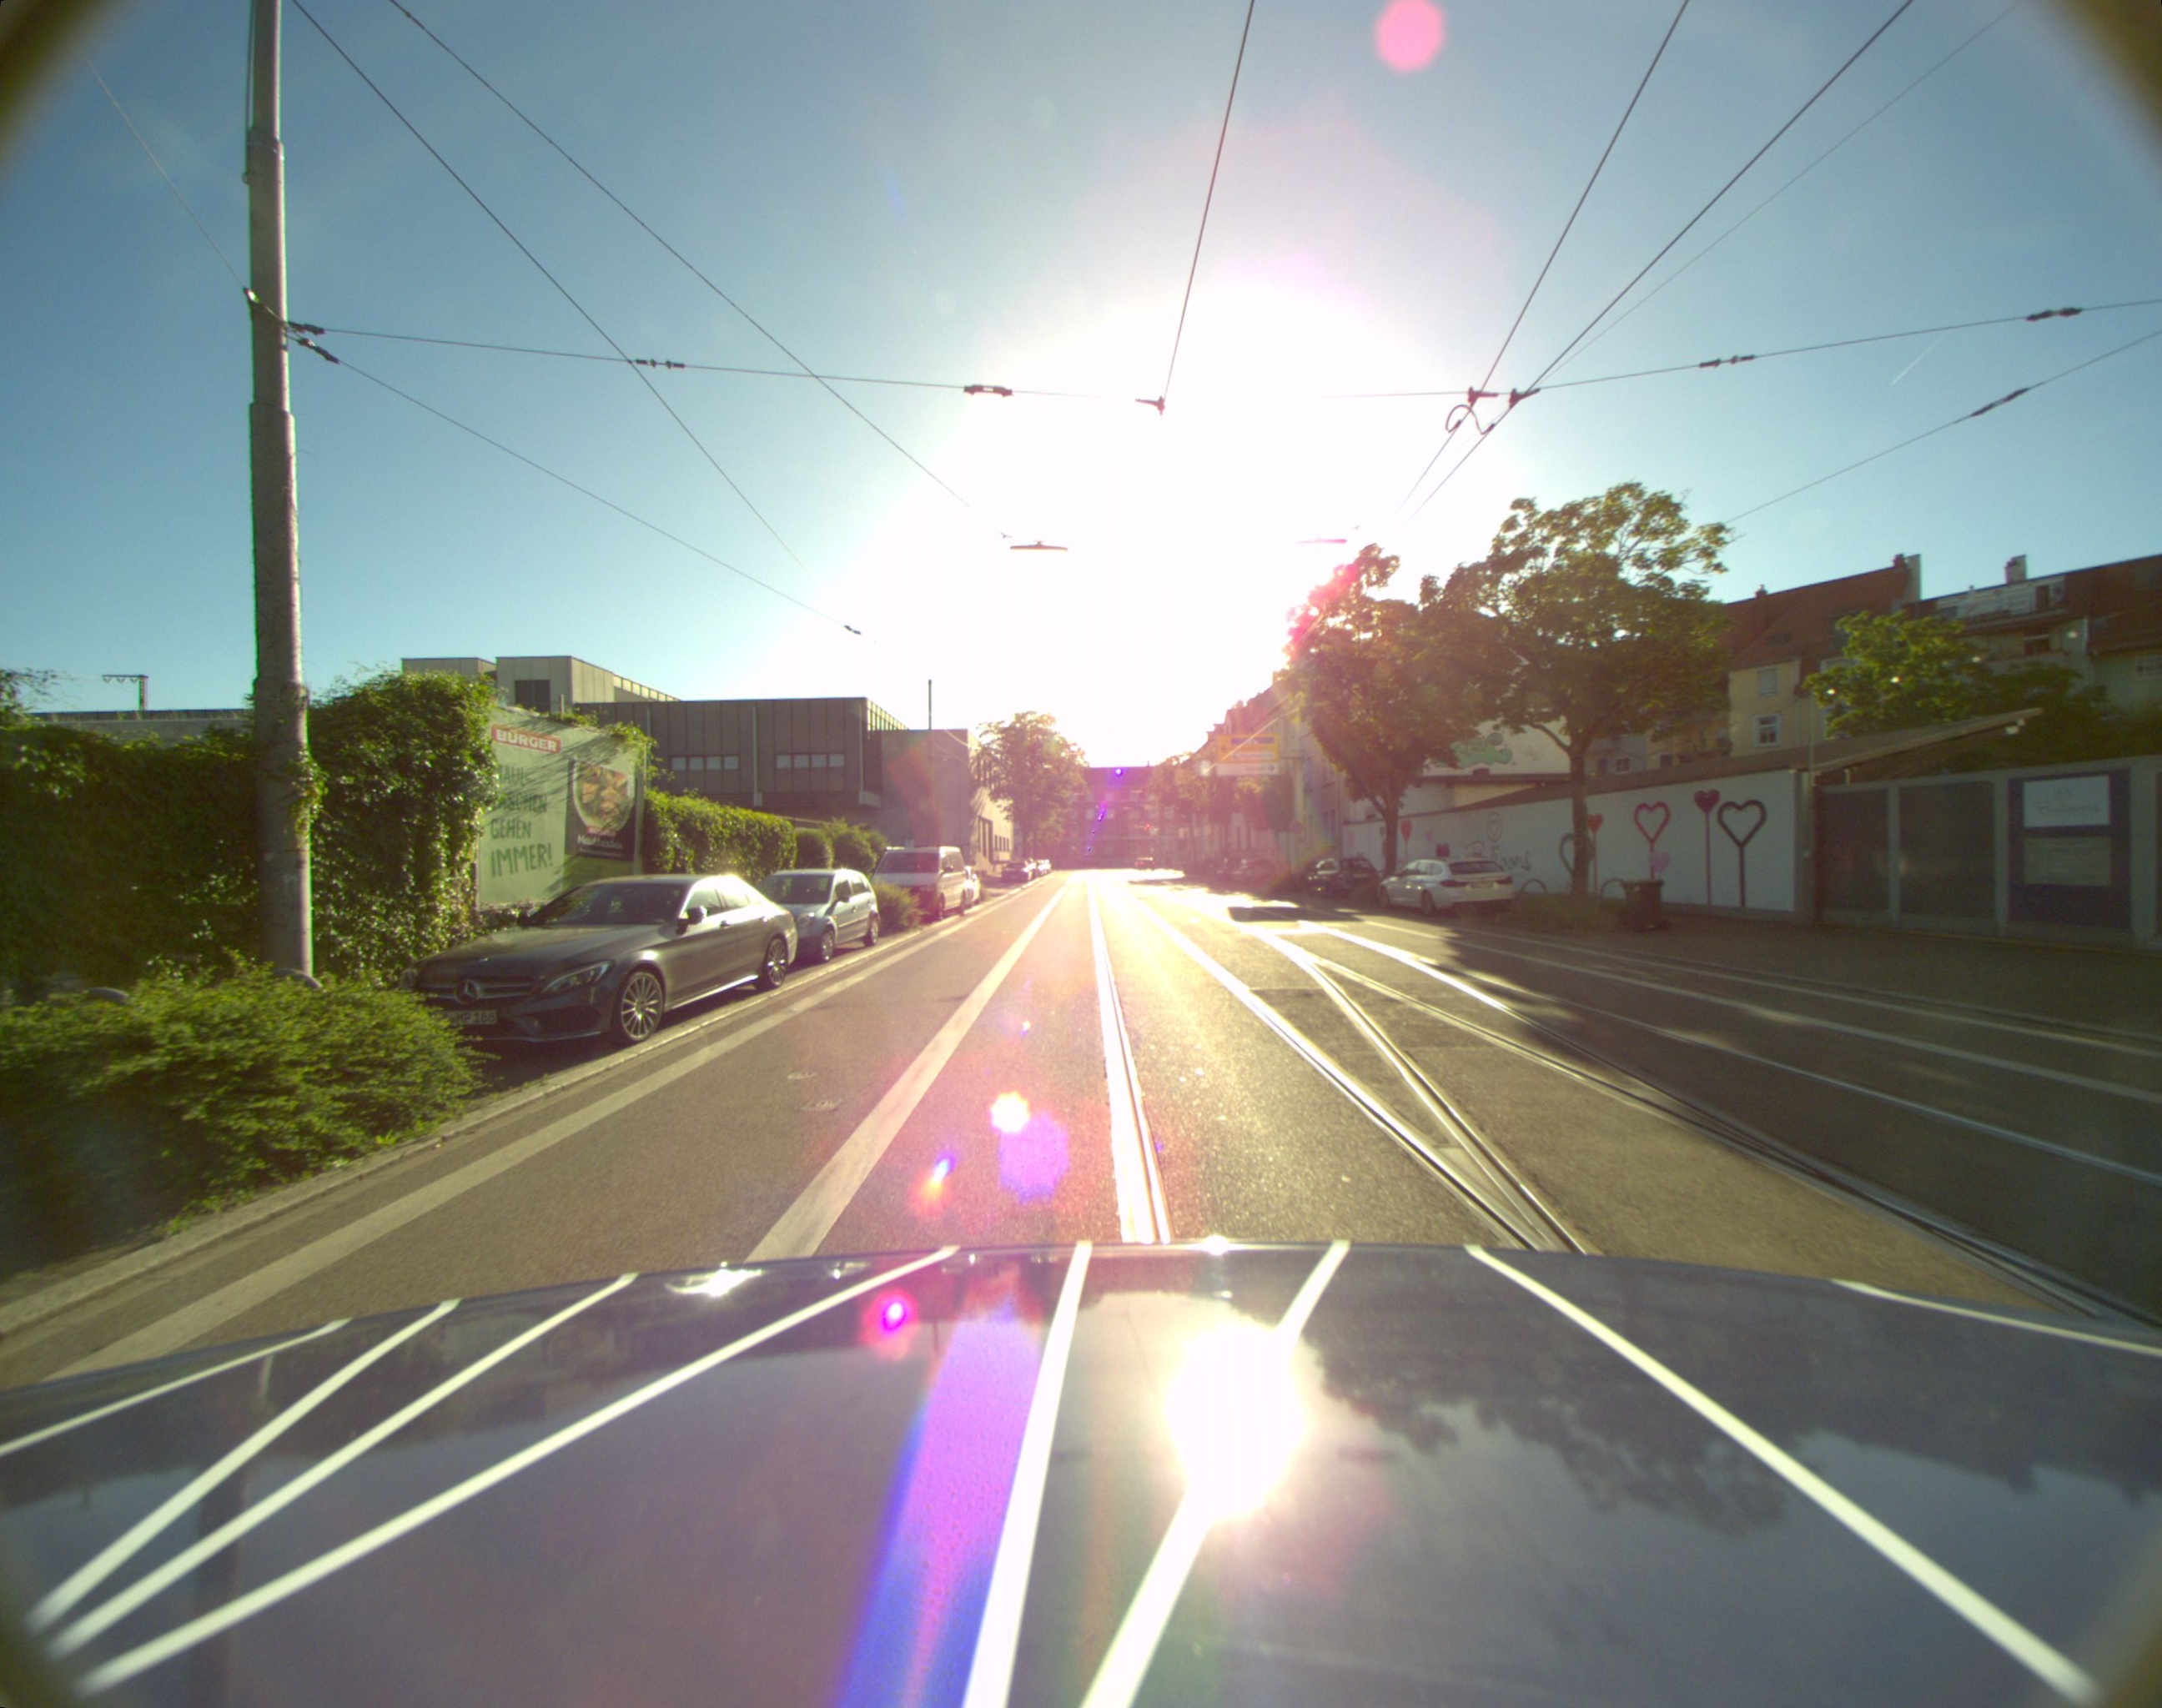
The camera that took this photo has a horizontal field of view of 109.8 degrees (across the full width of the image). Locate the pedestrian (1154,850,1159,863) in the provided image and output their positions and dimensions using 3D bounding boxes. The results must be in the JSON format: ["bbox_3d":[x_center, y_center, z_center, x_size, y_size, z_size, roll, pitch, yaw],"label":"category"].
[{"bbox_3d":[10.274,0.325,103.090,0.640,1.764,0.583,-2,1,1],"label":"pedestrian"}]

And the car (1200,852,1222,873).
[{"bbox_3d":[10.345,0.686,60.556,1.358,1.493,2.548,-2,-2,1],"label":"car"}]

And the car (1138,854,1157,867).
[{"bbox_3d":[7.834,0.708,89.898,1.770,1.455,4.746,0,1,0],"label":"car"}]

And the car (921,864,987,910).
[{"bbox_3d":[-4.441,1.118,27.144,1.680,1.409,4.501,1,0,-1],"label":"car"}]

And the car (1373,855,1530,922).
[{"bbox_3d":[9.586,0.819,20.163,1.869,1.482,4.661,-2,0,0],"label":"car"}]

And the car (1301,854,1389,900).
[{"bbox_3d":[9.656,0.792,28.129,1.777,1.477,4.305,-2,0,1],"label":"car"}]

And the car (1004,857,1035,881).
[{"bbox_3d":[-4.204,1.006,52.379,1.706,1.473,4.658,2,0,0],"label":"car"}]

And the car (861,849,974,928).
[{"bbox_3d":[-4.458,0.850,21.622,1.858,1.980,5.242,-1,0,2],"label":"car"}]

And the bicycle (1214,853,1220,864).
[{"bbox_3d":[12.725,0.390,71.102,0.303,1.036,1.661,-2,1,1],"label":"bicycle"}]

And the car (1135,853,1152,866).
[{"bbox_3d":[8.206,0.728,99.658,1.923,1.516,4.000,-2,0,1],"label":"car"}]

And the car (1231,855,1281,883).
[{"bbox_3d":[9.853,0.834,43.181,1.878,1.420,4.292,-2,0,1],"label":"car"}]

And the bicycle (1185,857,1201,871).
[{"bbox_3d":[9.928,0.885,67.542,1.344,1.162,0.409,-2,1,1],"label":"bicycle"}]

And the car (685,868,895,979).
[{"bbox_3d":[-4.773,1.056,13.188,1.877,1.464,4.075,-2,0,3],"label":"car"}]

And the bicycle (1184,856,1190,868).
[{"bbox_3d":[9.731,0.705,69.586,0.303,1.036,1.661,-2,1,1],"label":"bicycle"}]

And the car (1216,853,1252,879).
[{"bbox_3d":[9.868,0.737,49.229,1.576,1.496,4.000,-2,0,1],"label":"car"}]

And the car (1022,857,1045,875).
[{"bbox_3d":[-4.065,1.040,65.522,1.716,1.481,4.623,0,0,0],"label":"car"}]

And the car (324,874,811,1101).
[{"bbox_3d":[-4.649,1.063,7.964,1.828,1.476,4.601,-2,0,1],"label":"car"}]

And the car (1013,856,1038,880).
[{"bbox_3d":[-4.205,1.009,58.078,1.746,1.702,4.276,-1,0,-2],"label":"car"}]

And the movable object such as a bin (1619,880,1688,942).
[{"bbox_3d":[9.894,0.979,13.157,0.583,0.954,0.702,-6,1,1],"label":"movable object such as a bin"}]
